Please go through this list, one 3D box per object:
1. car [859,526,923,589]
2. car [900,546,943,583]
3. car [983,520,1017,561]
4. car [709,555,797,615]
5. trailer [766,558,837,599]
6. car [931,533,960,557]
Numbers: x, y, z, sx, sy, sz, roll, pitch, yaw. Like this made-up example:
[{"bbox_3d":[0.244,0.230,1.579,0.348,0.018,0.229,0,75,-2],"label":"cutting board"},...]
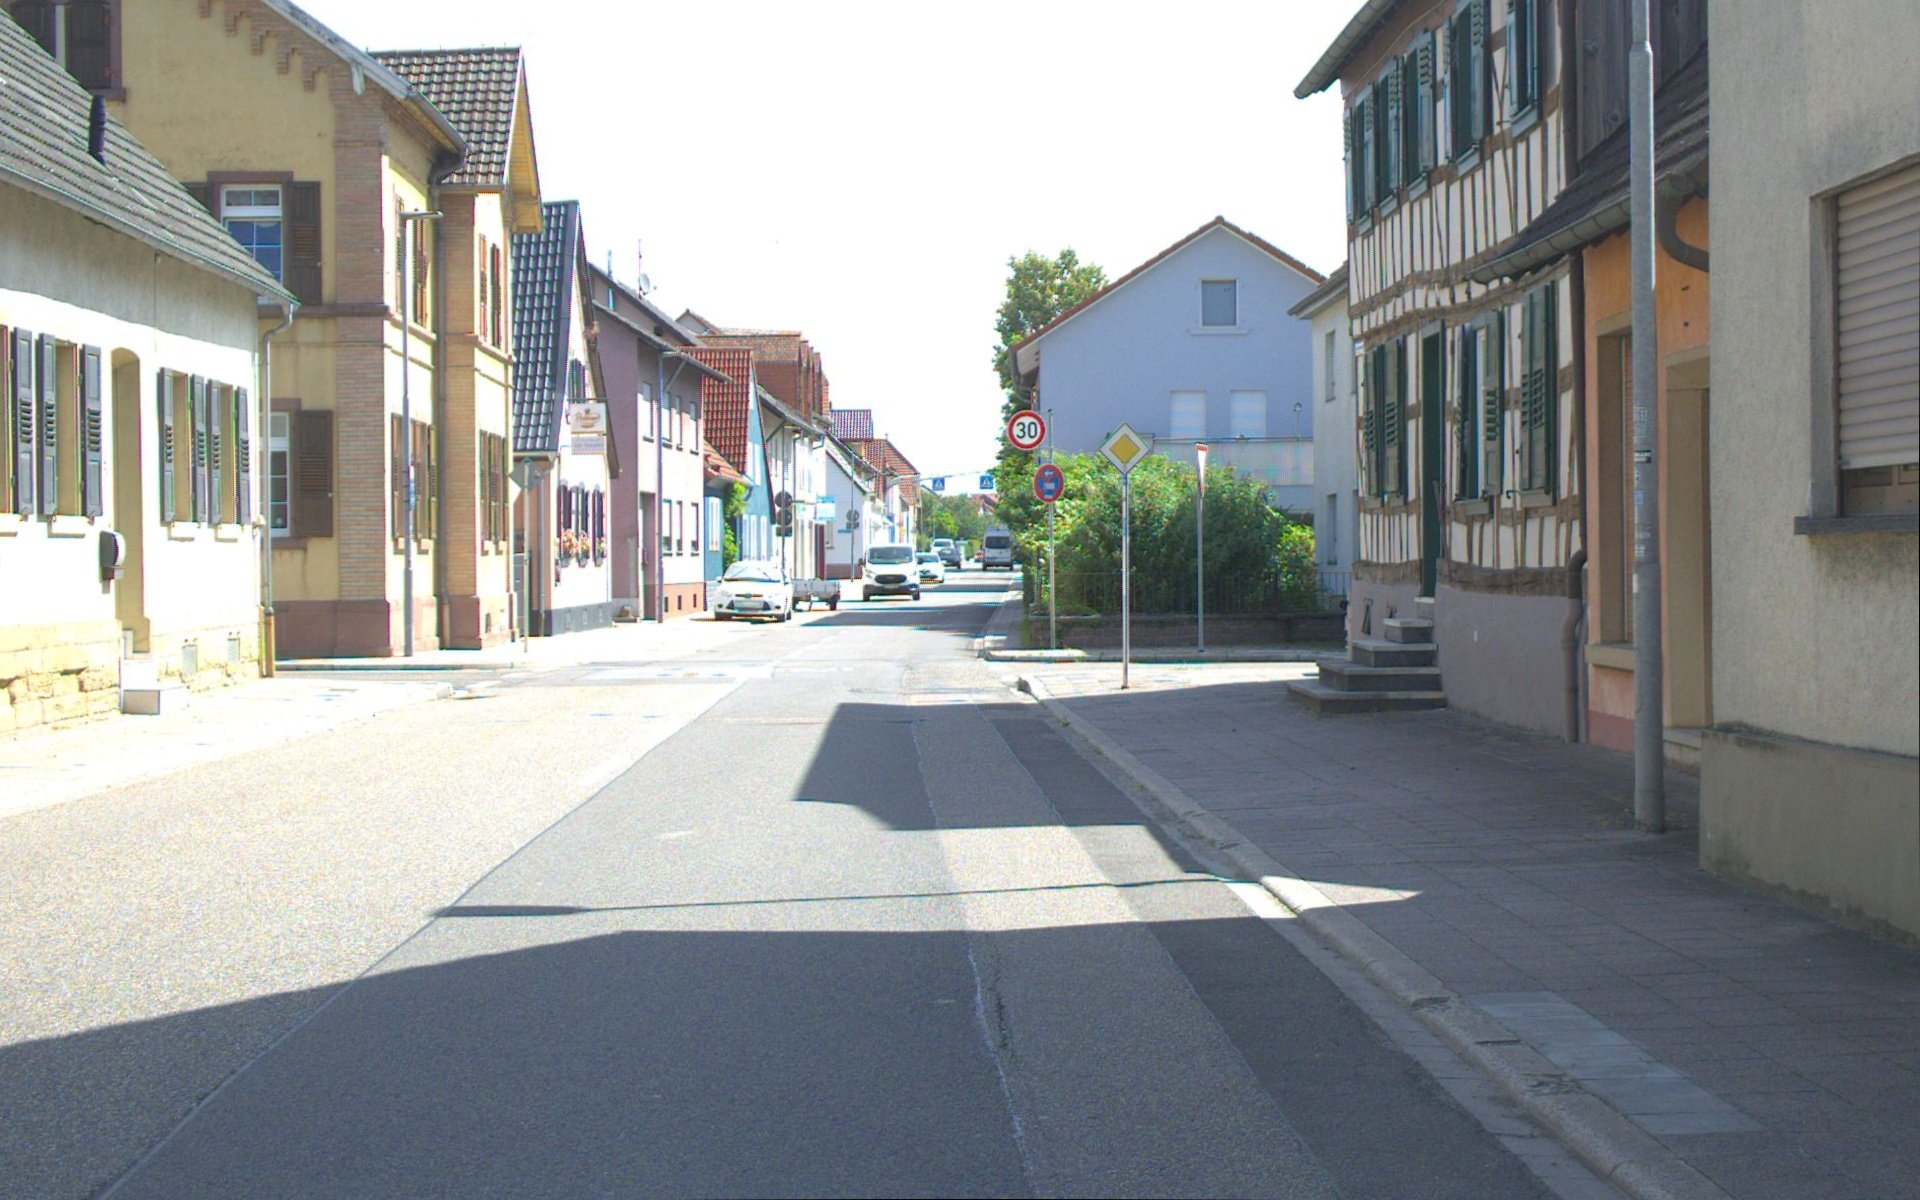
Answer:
[{"bbox_3d":[-2.399,-1.459,119.389,2.158,2.073,4.000,-1,-1,-2],"label":"car"},{"bbox_3d":[-1.801,-1.684,163.193,1.993,1.744,4.000,0,1,0],"label":"car"},{"bbox_3d":[2.538,-3.790,218.812,2.017,2.559,4.000,-1,1,-1],"label":"car"},{"bbox_3d":[-5.180,-0.395,86.529,1.993,1.437,4.000,-1,1,-1],"label":"car"},{"bbox_3d":[-4.733,-0.656,103.022,1.993,1.086,4.000,-3,1,-2],"label":"trailer"},{"bbox_3d":[-0.983,-3.675,230.031,1.867,1.539,3.838,-1,1,-1],"label":"car"}]
